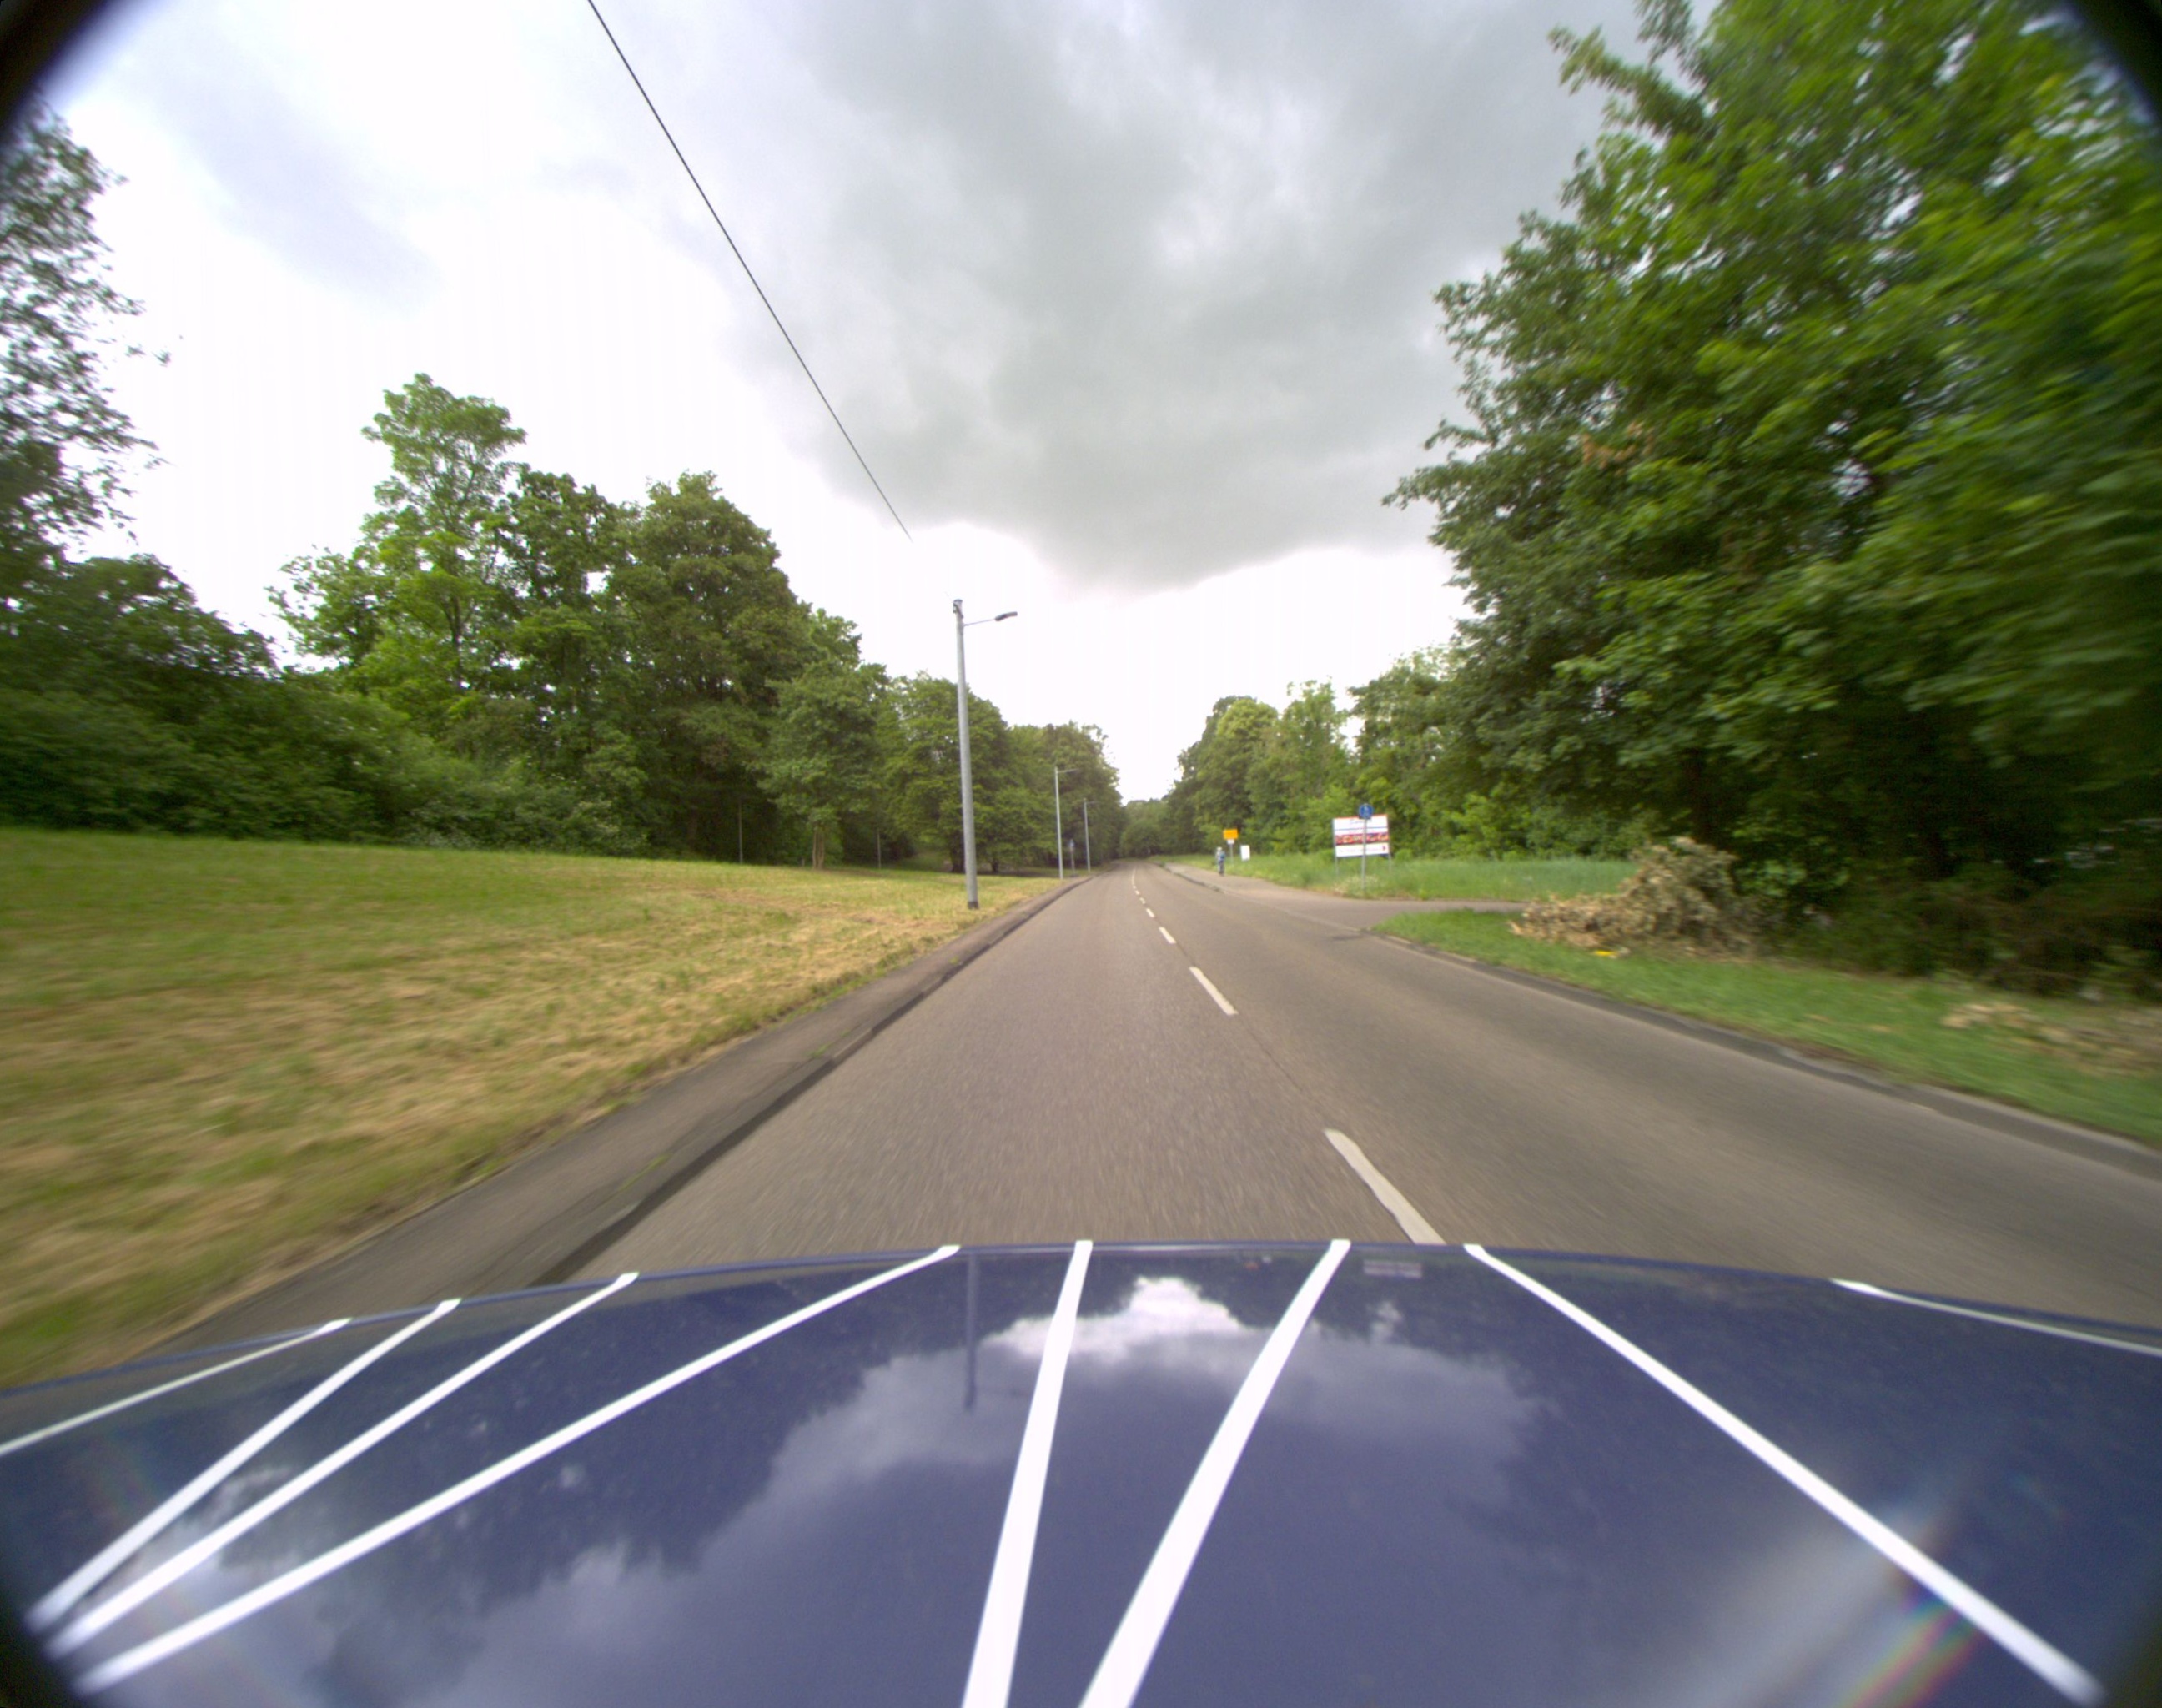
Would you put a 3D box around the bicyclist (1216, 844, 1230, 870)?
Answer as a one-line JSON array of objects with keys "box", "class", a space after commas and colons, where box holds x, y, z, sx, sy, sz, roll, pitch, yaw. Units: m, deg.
[{"box": [8.455, 0.197, 45.396, 0.667, 1.511, 1.271, -3, 0, 7], "class": "bicyclist"}]

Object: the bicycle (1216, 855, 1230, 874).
[{"box": [8.474, 0.606, 45.400, 0.667, 1.068, 2.147, -3, 0, 7], "class": "bicycle"}]
